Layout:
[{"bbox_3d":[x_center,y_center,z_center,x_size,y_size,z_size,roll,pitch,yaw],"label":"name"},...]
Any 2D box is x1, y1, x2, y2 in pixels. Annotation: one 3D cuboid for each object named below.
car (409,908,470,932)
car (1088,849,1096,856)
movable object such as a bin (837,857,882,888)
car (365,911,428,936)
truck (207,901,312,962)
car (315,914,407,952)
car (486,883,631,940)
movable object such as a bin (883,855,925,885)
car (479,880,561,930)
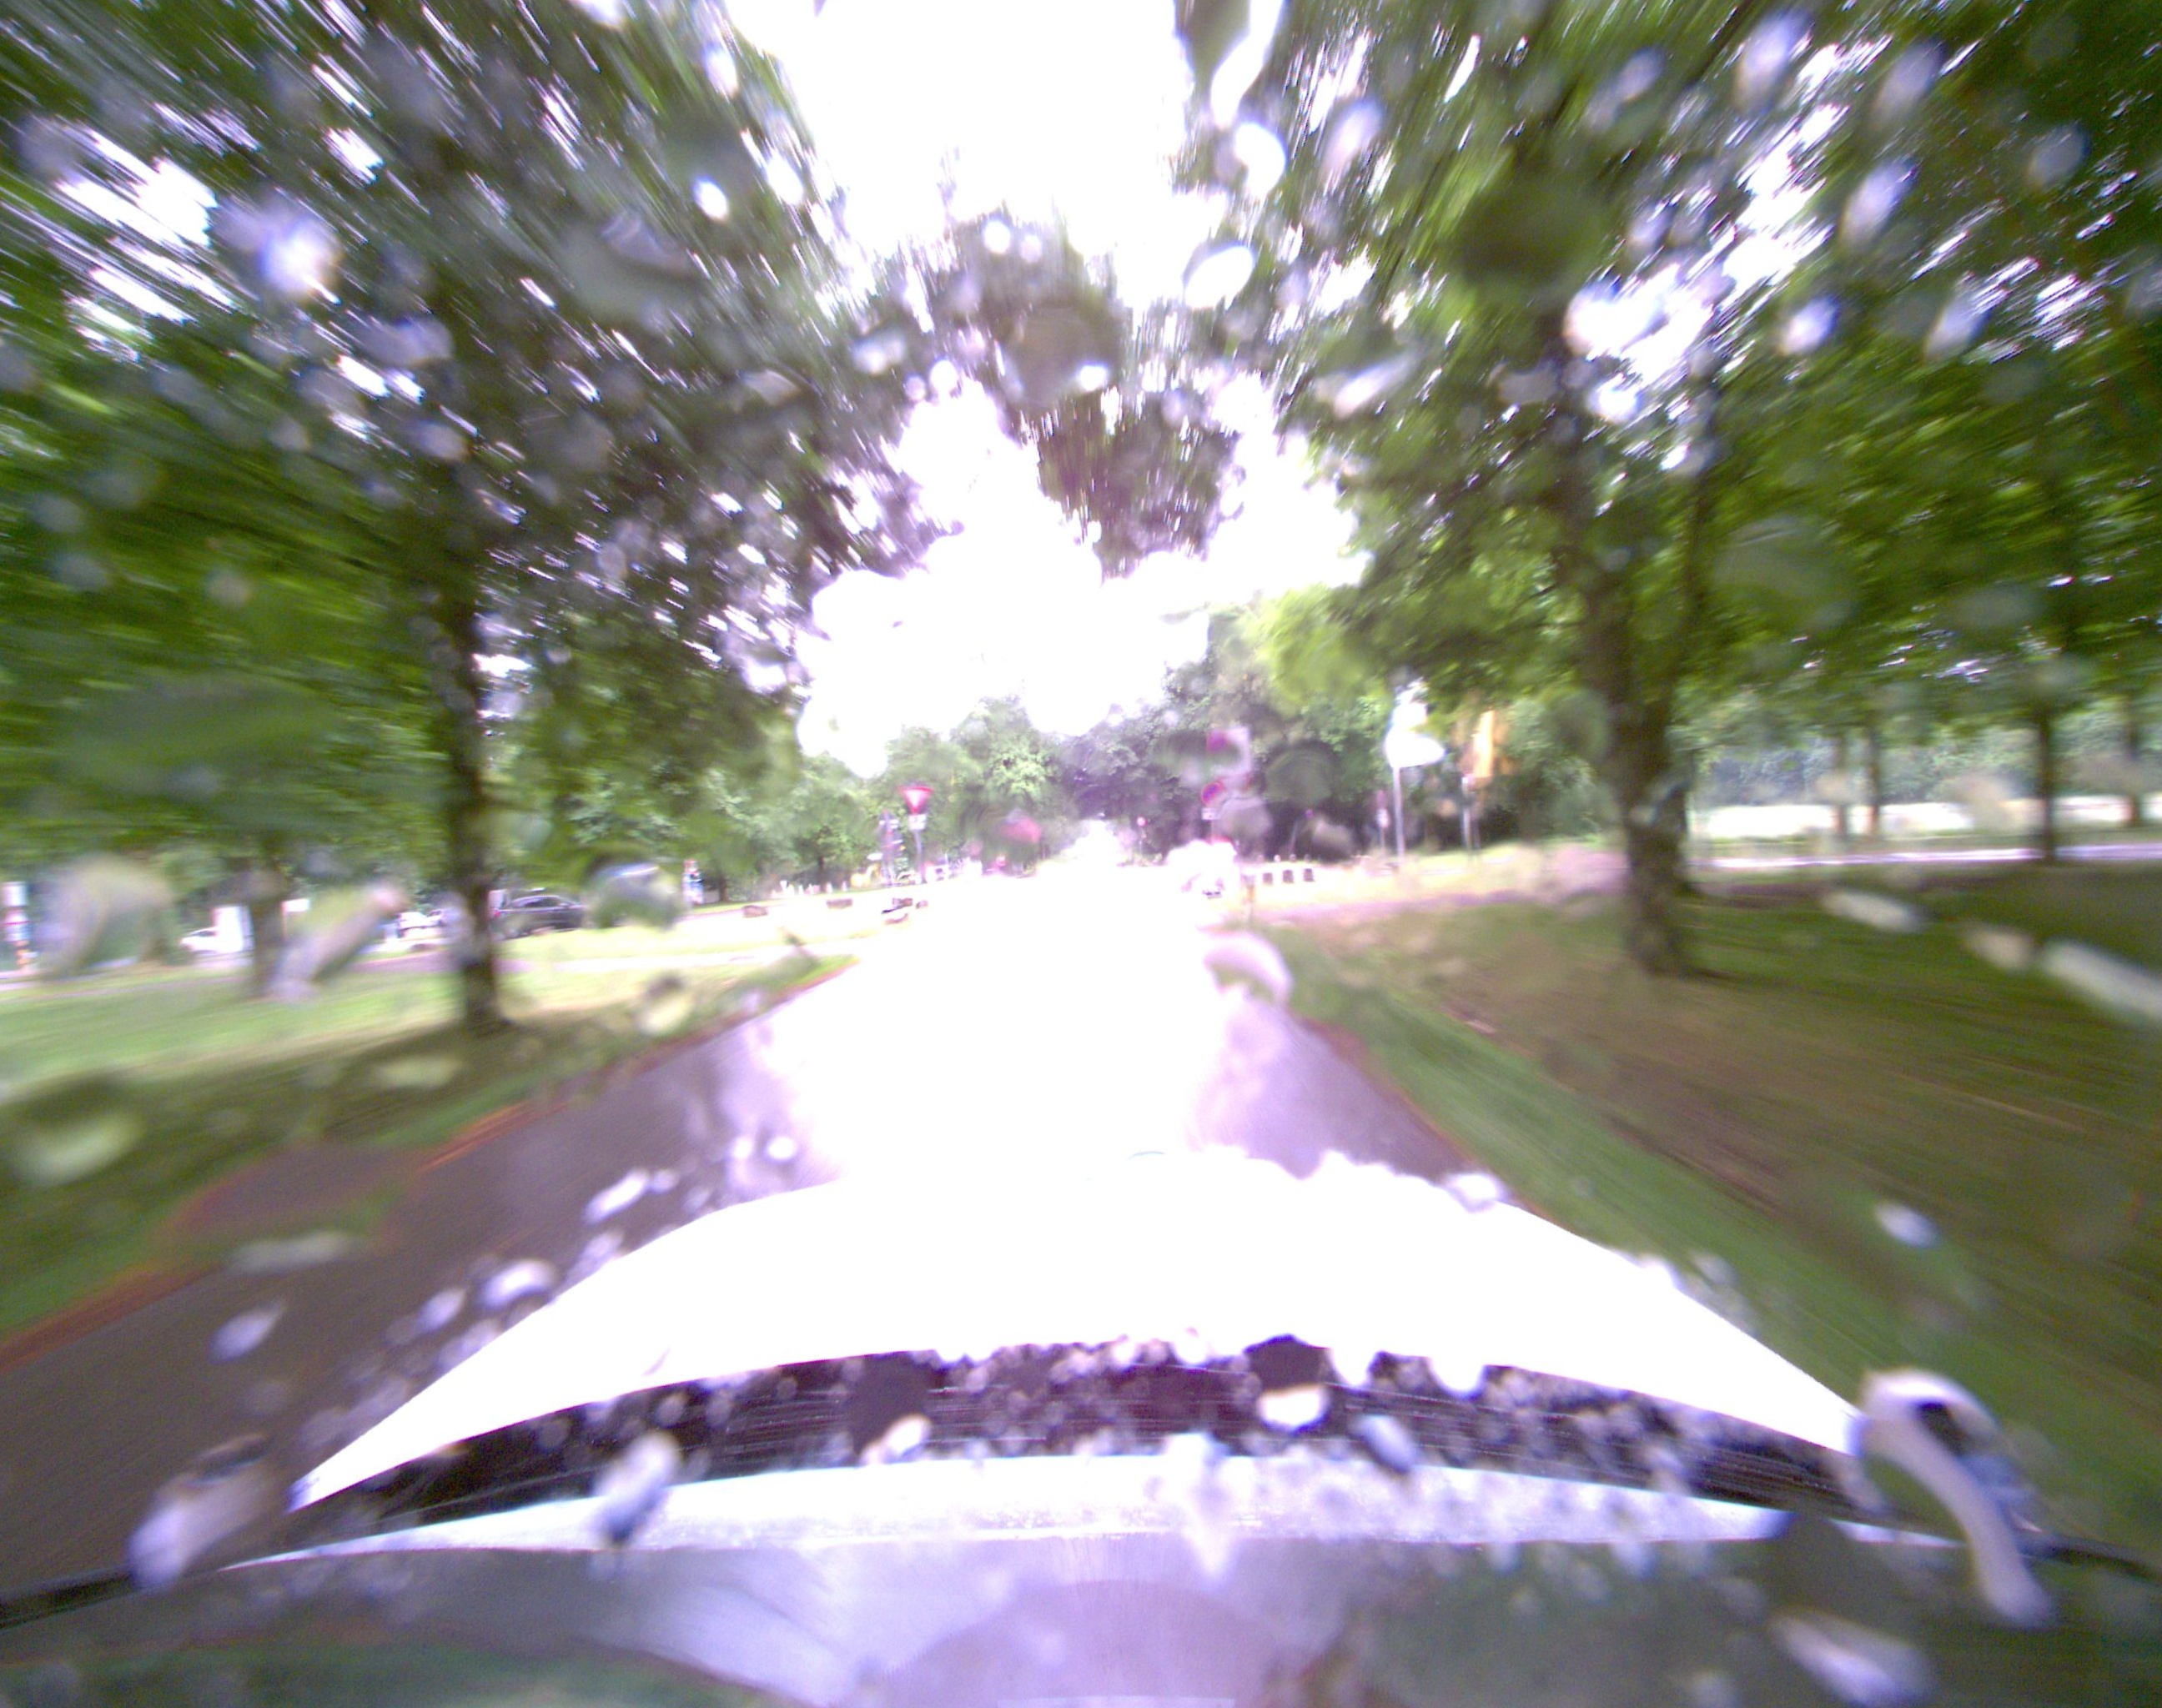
[{"bbox_3d":[-52.121,5.360,66.145,3.953,1.585,2.011,-4,0,20],"label":"car"},{"bbox_3d":[2.827,-0.369,211.709,1.986,1.716,4.002,-4,0,1],"label":"car"},{"bbox_3d":[-26.842,2.204,98.965,4.655,3.293,3.900,-5,0,-10],"label":"movable object such as a bin"},{"bbox_3d":[-53.440,5.396,63.581,3.953,1.585,2.011,-4,0,20],"label":"car"},{"bbox_3d":[-38.979,3.618,38.765,1.872,2.442,3.334,-4,0,-13],"label":"truck"},{"bbox_3d":[-35.496,3.864,40.280,1.767,1.429,4.083,-5,0,-17],"label":"car"},{"bbox_3d":[-21.319,2.314,33.432,4.568,1.708,1.723,-6,1,-15],"label":"car"},{"bbox_3d":[-21.798,2.000,100.515,4.582,3.293,3.654,-5,0,-10],"label":"movable object such as a bin"},{"bbox_3d":[-30.872,2.834,44.753,5.907,2.407,2.407,-5,-2,43],"label":"car"}]
